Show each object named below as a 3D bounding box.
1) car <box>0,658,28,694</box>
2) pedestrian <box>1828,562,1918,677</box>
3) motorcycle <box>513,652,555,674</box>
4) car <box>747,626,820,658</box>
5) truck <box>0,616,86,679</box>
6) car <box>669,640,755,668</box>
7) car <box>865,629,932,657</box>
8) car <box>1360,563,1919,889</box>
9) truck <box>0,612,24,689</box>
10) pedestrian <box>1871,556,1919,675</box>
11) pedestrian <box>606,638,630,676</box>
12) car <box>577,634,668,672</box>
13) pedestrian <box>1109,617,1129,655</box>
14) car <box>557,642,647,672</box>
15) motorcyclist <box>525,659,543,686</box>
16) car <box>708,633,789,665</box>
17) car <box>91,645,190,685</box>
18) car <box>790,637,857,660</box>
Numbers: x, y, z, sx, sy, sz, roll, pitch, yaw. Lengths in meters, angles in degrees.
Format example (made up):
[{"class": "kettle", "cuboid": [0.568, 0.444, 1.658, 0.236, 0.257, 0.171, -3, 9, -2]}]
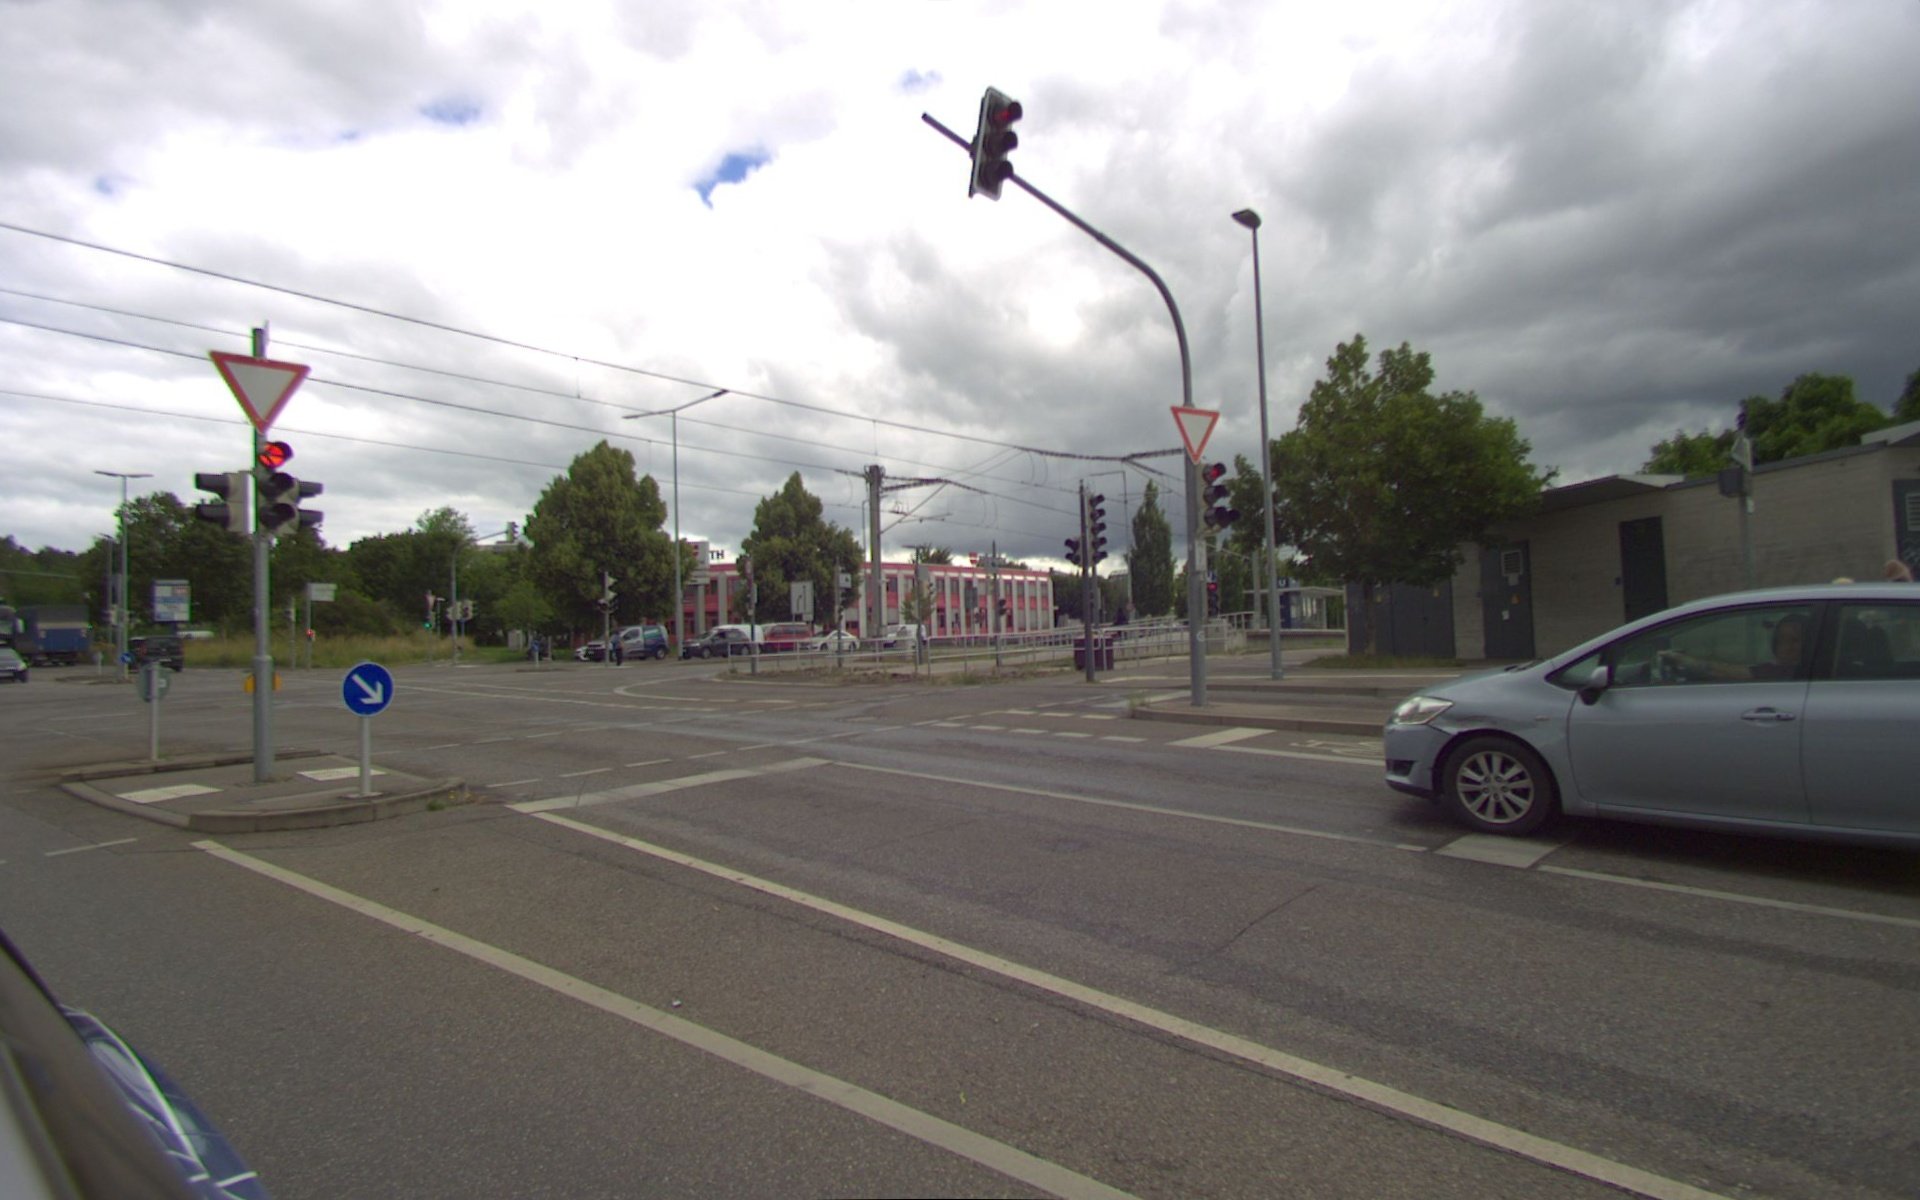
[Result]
[{"class": "car", "cuboid": [-41.160, 3.221, 43.148, 3.863, 1.453, 1.614, -3, -2, 40]}, {"class": "pedestrian", "cuboid": [11.387, 0.249, 12.643, 0.774, 1.374, 0.543, -3, -2, 42]}, {"class": "motorcycle", "cuboid": [-22.948, 3.398, 54.583, 2.034, 1.099, 0.762, -1, -3, -18]}, {"class": "car", "cuboid": [-11.429, 2.791, 65.858, 2.180, 1.920, 4.401, -2, -5, 34]}, {"class": "truck", "cuboid": [-58.936, 3.033, 64.977, 8.377, 3.833, 2.752, -3, -2, 38]}, {"class": "car", "cuboid": [-12.945, 2.873, 53.044, 1.812, 1.351, 4.168, -2, -5, 37]}, {"class": "car", "cuboid": [-4.505, 3.179, 74.680, 1.950, 1.920, 5.167, -3, -2, 40]}, {"class": "car", "cuboid": [4.800, 0.630, 5.875, 1.806, 1.547, 4.222, 1, -3, -44]}, {"class": "truck", "cuboid": [-47.425, 2.461, 48.437, 5.953, 3.544, 3.035, -3, -1, 39]}, {"class": "pedestrian", "cuboid": [13.795, 0.225, 14.645, 0.541, 1.682, 0.640, -1, -2, -13]}, {"class": "pedestrian", "cuboid": [-14.117, 2.331, 41.741, 0.715, 1.542, 0.661, -3, -2, 41]}, {"class": "car", "cuboid": [-17.336, 2.711, 52.167, 1.813, 1.793, 4.167, -2, -2, 39]}, {"class": "pedestrian", "cuboid": [6.709, 1.520, 42.653, 0.563, 1.584, 0.539, -3, 0, 36]}, {"class": "car", "cuboid": [-20.177, 3.215, 57.140, 1.835, 1.431, 4.452, -6, -4, 41]}, {"class": "motorcyclist", "cuboid": [-22.964, 3.895, 54.555, 0.803, 1.432, 0.762, -1, -3, -18]}, {"class": "car", "cuboid": [-12.456, 2.878, 59.944, 1.813, 1.806, 4.635, -3, -3, 39]}, {"class": "car", "cuboid": [-41.472, 3.287, 51.194, 4.863, 1.891, 1.983, -2, -2, 25]}, {"class": "car", "cuboid": [-8.623, 3.106, 64.143, 1.812, 1.351, 4.169, -2, -5, 37]}]
